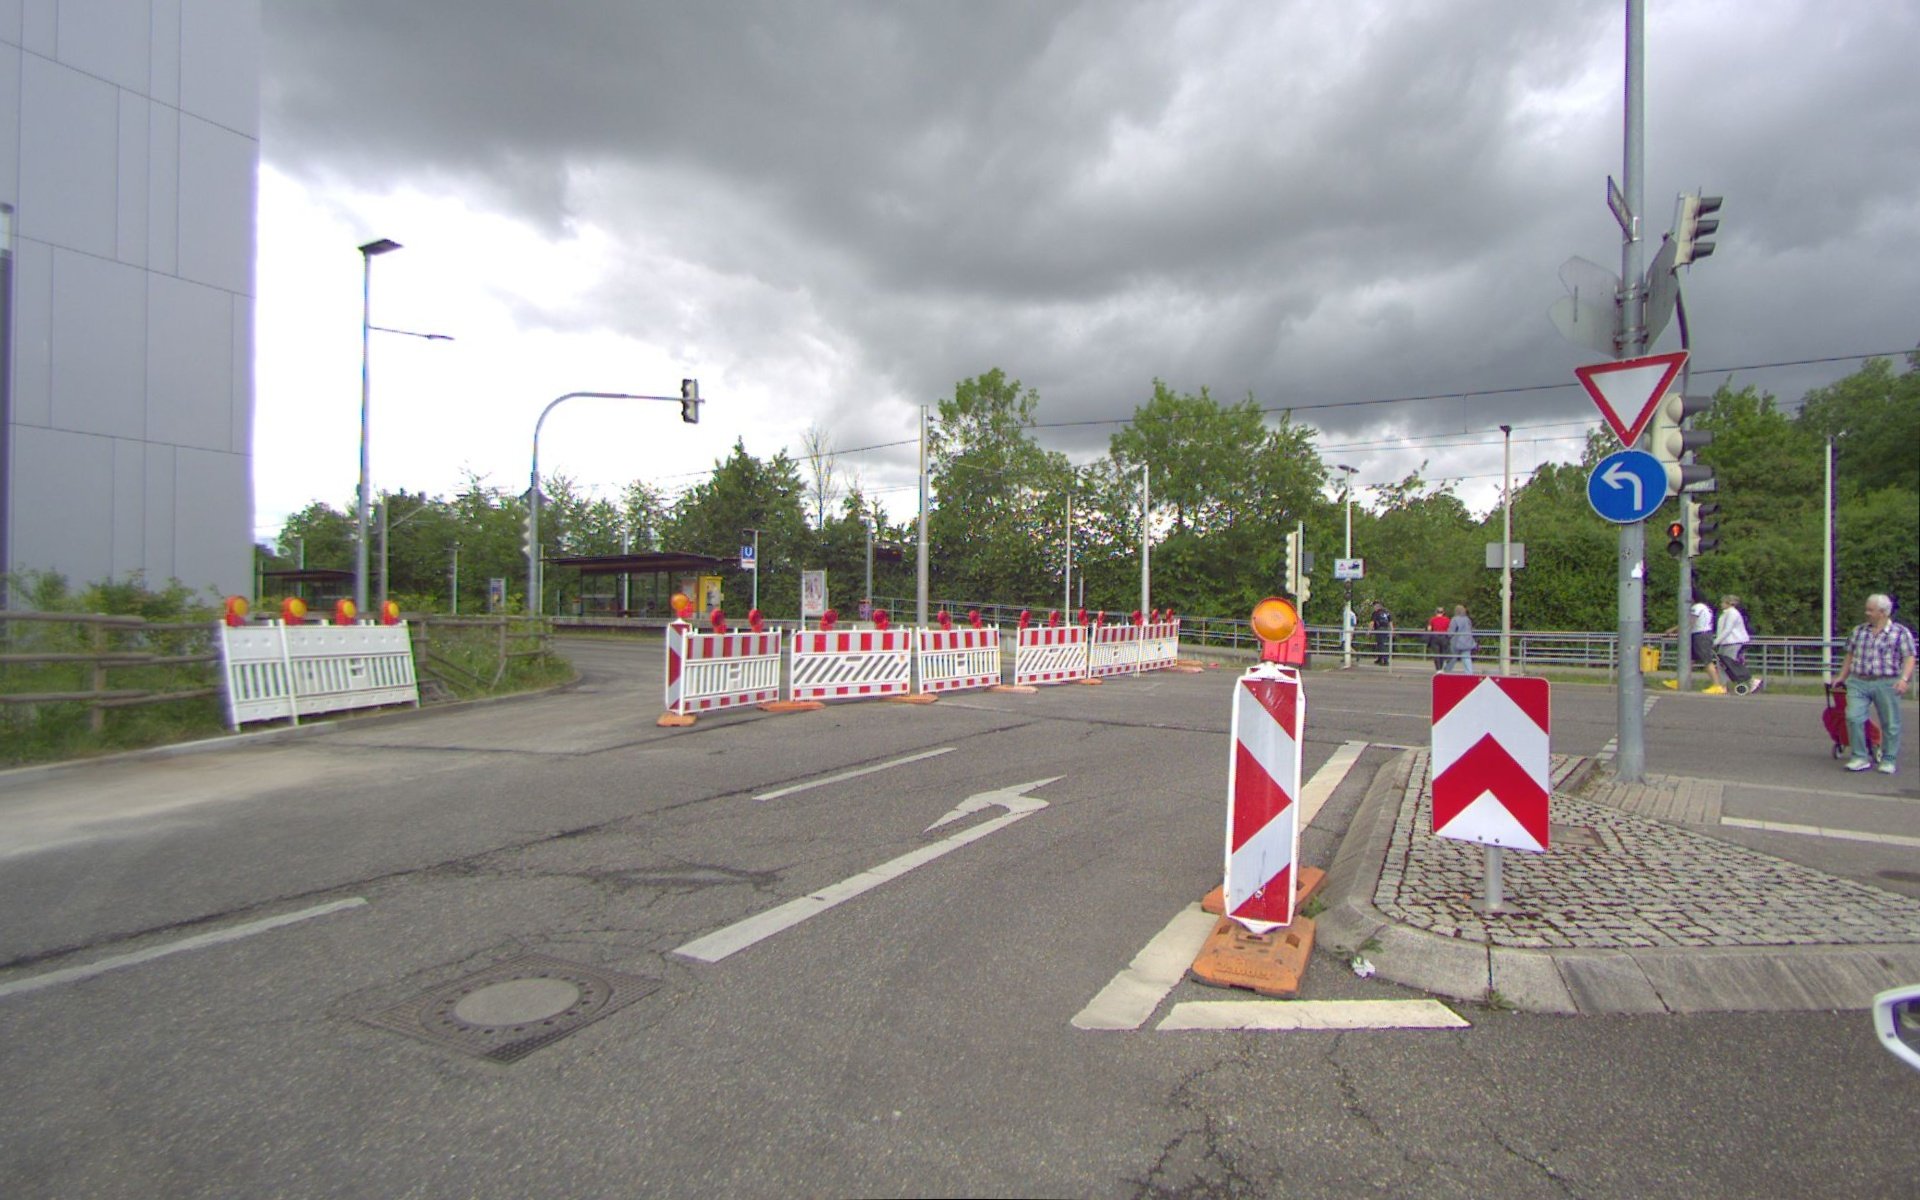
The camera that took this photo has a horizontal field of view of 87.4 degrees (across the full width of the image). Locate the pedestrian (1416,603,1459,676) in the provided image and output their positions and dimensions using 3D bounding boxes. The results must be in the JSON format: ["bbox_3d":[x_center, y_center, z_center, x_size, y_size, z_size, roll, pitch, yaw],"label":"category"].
[{"bbox_3d":[11.019,0.903,23.193,0.711,1.643,0.801,1,0,39],"label":"pedestrian"}]

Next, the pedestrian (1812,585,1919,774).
[{"bbox_3d":[8.380,0.707,9.289,0.713,1.655,0.695,-1,-1,44],"label":"pedestrian"}]

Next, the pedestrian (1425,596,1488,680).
[{"bbox_3d":[10.650,0.803,21.567,0.939,1.771,0.722,1,0,-5],"label":"pedestrian"}]

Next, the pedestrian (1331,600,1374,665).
[{"bbox_3d":[10.905,0.883,27.940,0.710,1.771,0.955,1,0,-11],"label":"pedestrian"}]

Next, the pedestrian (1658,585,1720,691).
[{"bbox_3d":[12.593,0.634,17.358,0.951,1.771,0.713,1,0,-45],"label":"pedestrian"}]

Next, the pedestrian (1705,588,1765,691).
[{"bbox_3d":[13.749,0.686,17.816,0.951,1.771,0.713,1,0,-45],"label":"pedestrian"}]
